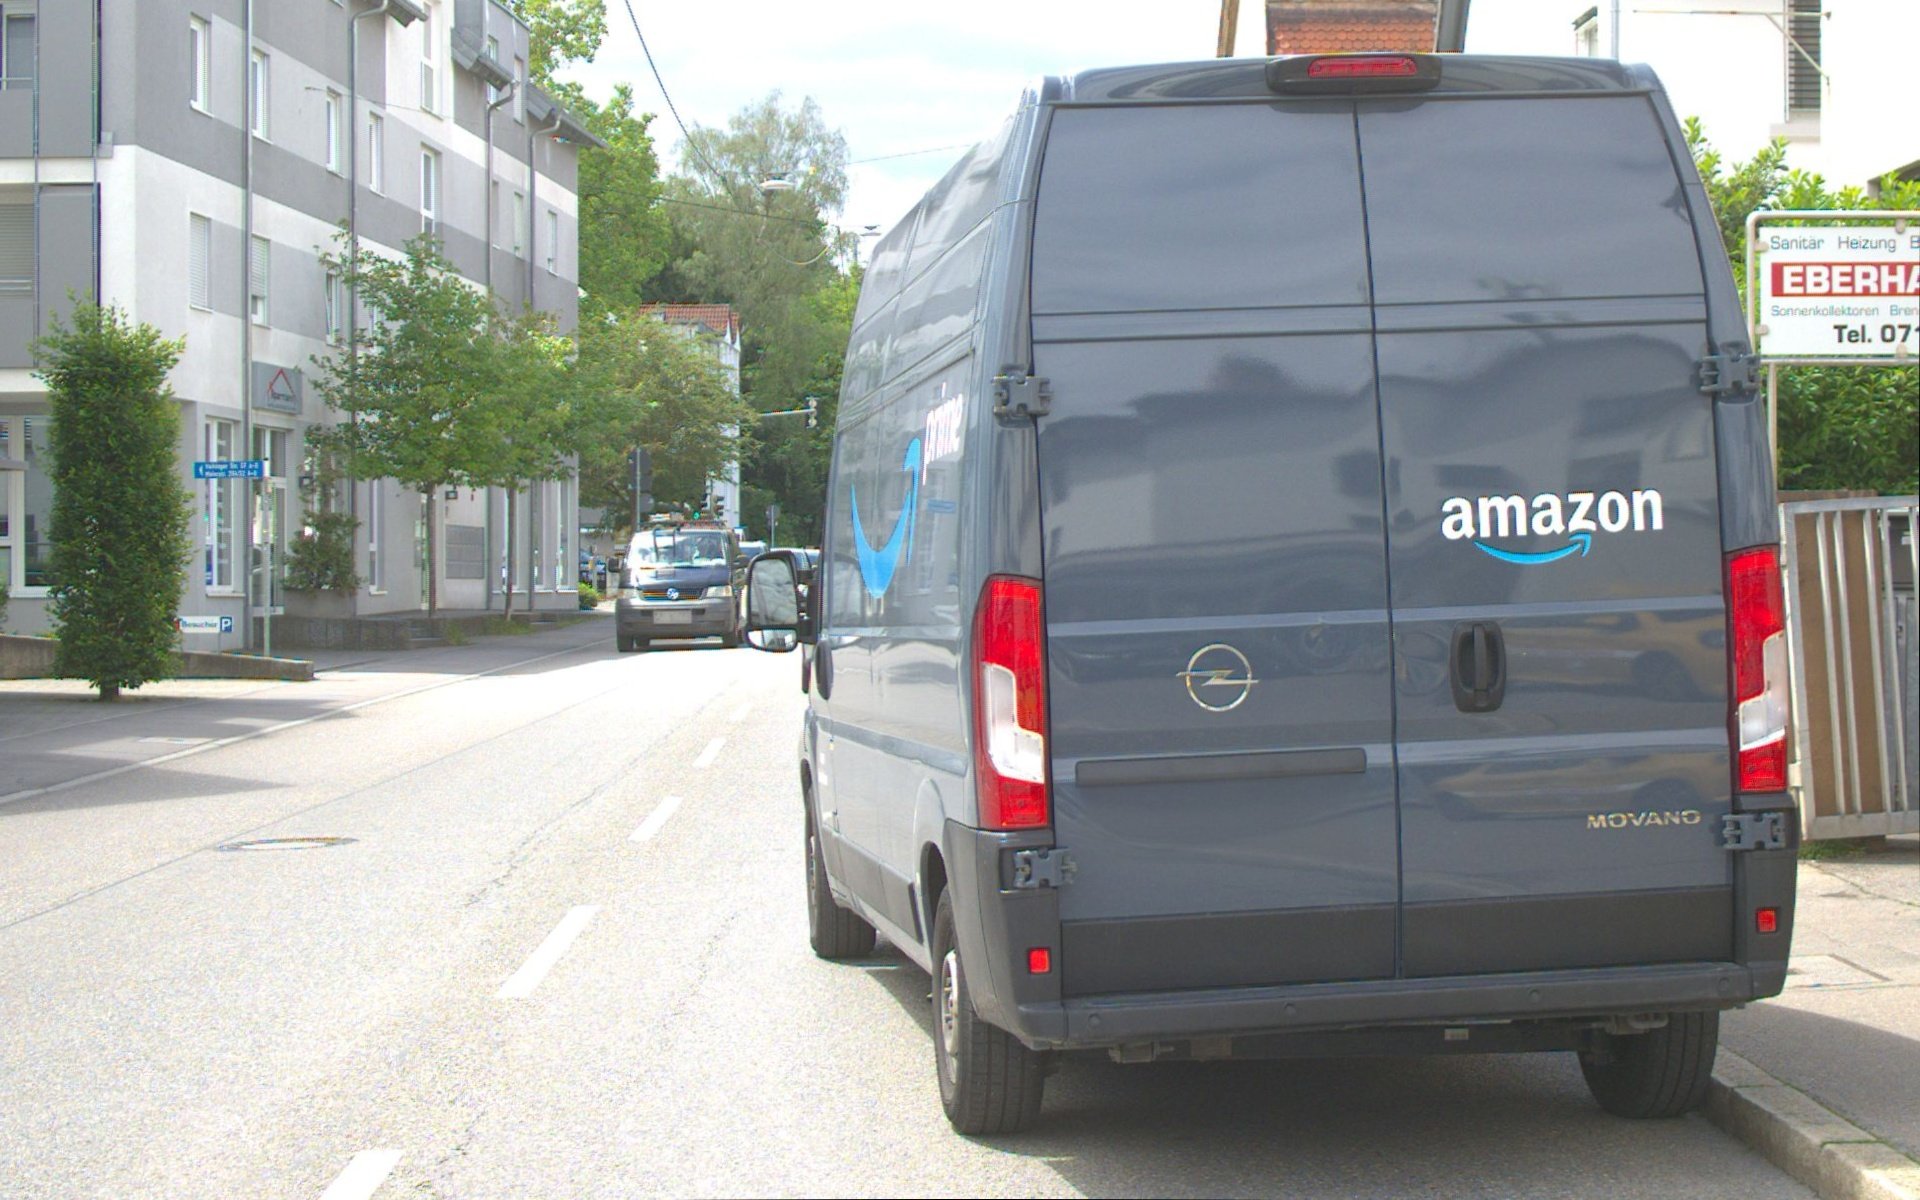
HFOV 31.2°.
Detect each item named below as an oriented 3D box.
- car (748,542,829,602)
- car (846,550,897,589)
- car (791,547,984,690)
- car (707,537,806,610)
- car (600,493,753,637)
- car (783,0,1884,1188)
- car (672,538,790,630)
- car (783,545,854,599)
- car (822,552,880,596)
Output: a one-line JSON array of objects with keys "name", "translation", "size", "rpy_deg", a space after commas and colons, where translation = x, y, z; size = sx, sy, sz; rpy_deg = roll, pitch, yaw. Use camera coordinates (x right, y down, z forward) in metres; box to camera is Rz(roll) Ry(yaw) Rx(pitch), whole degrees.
[{"name": "car", "translation": [-4.634, -0.784, 93.543], "size": [2.105, 1.590, 4.650], "rpy_deg": [0, 1, -2]}, {"name": "car", "translation": [-3.781, -1.309, 146.106], "size": [2.105, 1.590, 4.650], "rpy_deg": [0, 1, -2]}, {"name": "car", "translation": [-0.727, 0.159, 37.204], "size": [1.896, 1.448, 3.968], "rpy_deg": [0, 1, 2]}, {"name": "car", "translation": [-4.566, -0.619, 77.738], "size": [2.105, 1.590, 4.650], "rpy_deg": [0, 1, -2]}, {"name": "car", "translation": [-4.467, -0.571, 54.775], "size": [2.105, 2.114, 4.766], "rpy_deg": [-2, 1, -2]}, {"name": "car", "translation": [0.745, -0.099, 10.741], "size": [2.252, 2.786, 5.570], "rpy_deg": [-1, 1, -6]}, {"name": "car", "translation": [-4.422, -0.341, 67.052], "size": [2.105, 1.704, 4.766], "rpy_deg": [0, 1, -2]}, {"name": "car", "translation": [-4.313, -0.866, 105.302], "size": [2.105, 1.590, 4.650], "rpy_deg": [0, 1, -2]}, {"name": "car", "translation": [-4.075, -0.995, 128.140], "size": [2.105, 1.590, 4.650], "rpy_deg": [0, 1, -2]}]
